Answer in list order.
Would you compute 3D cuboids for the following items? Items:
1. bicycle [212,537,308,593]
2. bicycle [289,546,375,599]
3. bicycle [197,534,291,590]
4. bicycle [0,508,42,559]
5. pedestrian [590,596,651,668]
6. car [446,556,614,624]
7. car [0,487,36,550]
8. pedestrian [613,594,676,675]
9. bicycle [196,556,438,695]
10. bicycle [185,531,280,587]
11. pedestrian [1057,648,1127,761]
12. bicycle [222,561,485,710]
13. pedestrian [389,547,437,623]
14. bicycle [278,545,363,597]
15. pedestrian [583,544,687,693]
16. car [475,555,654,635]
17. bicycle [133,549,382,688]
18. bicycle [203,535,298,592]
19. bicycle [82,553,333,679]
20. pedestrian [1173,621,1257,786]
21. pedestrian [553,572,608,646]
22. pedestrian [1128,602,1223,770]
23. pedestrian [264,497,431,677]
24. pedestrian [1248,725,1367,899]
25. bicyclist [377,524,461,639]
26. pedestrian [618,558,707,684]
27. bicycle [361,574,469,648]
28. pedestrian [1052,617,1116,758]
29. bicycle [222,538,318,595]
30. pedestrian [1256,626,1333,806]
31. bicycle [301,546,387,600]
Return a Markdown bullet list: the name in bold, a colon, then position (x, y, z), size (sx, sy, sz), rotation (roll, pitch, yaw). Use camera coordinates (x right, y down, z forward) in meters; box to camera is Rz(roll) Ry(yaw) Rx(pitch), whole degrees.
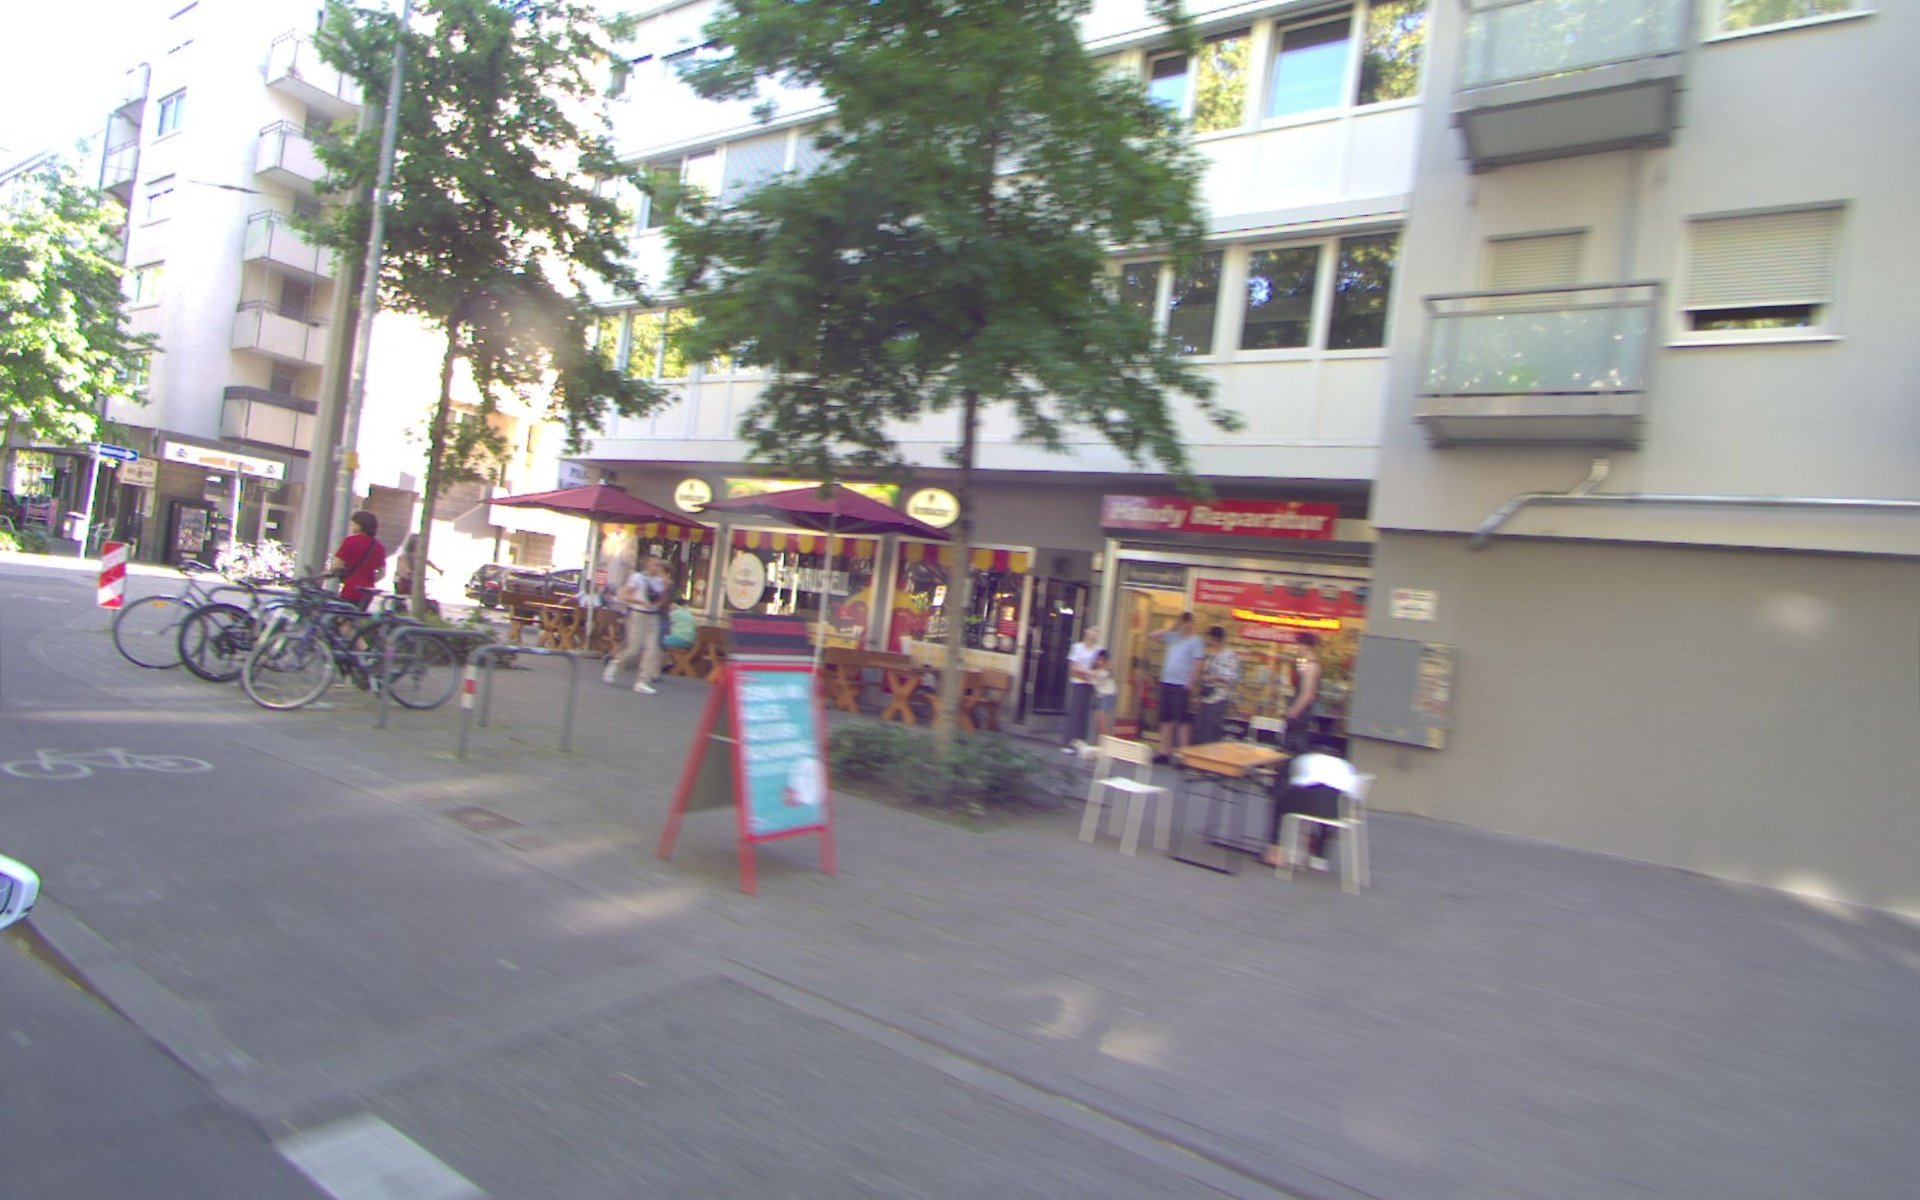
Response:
- **bicycle**: position (-18.303, -0.895, 26.361), size (0.502, 1.222, 1.918), rotation (8, 0, 30)
- **bicycle**: position (-17.782, -0.757, 28.539), size (0.502, 1.221, 1.919), rotation (7, -3, 30)
- **bicycle**: position (-19.171, -1.002, 26.984), size (0.502, 1.222, 1.918), rotation (7, -1, 30)
- **bicycle**: position (-25.608, -1.856, 26.374), size (0.672, 1.200, 2.125), rotation (6, -3, 42)
- **pedestrian**: position (-5.623, 0.530, 16.671), size (0.513, 1.091, 0.643), rotation (6, -2, 32)
- **car**: position (-13.837, -0.268, 32.632), size (1.841, 1.495, 4.590), rotation (9, 0, 35)
- **car**: position (-28.001, -2.464, 28.266), size (4.375, 1.635, 1.995), rotation (6, -1, 34)
- **pedestrian**: position (-5.067, 0.561, 16.169), size (0.513, 1.188, 0.660), rotation (6, -2, 32)
- **bicycle**: position (-5.946, 0.289, 9.439), size (0.473, 1.112, 1.822), rotation (7, -3, 26)
- **bicycle**: position (-19.646, -1.090, 27.205), size (0.502, 1.221, 1.919), rotation (7, -3, 30)
- **pedestrian**: position (1.628, 1.278, 12.476), size (0.615, 1.290, 0.509), rotation (8, -2, -3)
- **bicycle**: position (-5.191, 0.354, 8.746), size (0.517, 1.113, 1.818), rotation (6, -2, 33)
- **pedestrian**: position (-12.055, -0.328, 22.163), size (0.635, 1.579, 0.551), rotation (5, -3, 38)
- **bicycle**: position (-18.338, -0.812, 28.877), size (0.502, 1.221, 1.919), rotation (6, -3, 30)
- **pedestrian**: position (-4.253, 0.238, 13.154), size (0.979, 1.804, 0.591), rotation (6, -2, 33)
- **car**: position (-10.825, -0.072, 27.878), size (1.933, 1.609, 4.262), rotation (5, -3, 28)
- **bicycle**: position (-6.573, 0.222, 9.540), size (0.489, 1.112, 1.822), rotation (7, -3, 26)
- **bicycle**: position (-18.747, -0.946, 26.638), size (0.502, 1.222, 1.918), rotation (8, -1, 30)
- **bicycle**: position (-7.259, 0.192, 9.817), size (0.473, 1.005, 1.820), rotation (6, -3, 31)
- **pedestrian**: position (2.980, 1.190, 11.778), size (0.518, 1.825, 0.630), rotation (8, -2, -13)
- **pedestrian**: position (-7.305, 0.176, 19.349), size (0.704, 1.302, 0.536), rotation (6, -2, 35)
- **pedestrian**: position (2.690, 1.061, 12.567), size (0.782, 1.976, 0.505), rotation (6, -2, 43)
- **pedestrian**: position (-6.654, -0.115, 10.989), size (1.028, 1.778, 0.879), rotation (7, -2, 6)
- **pedestrian**: position (2.516, 1.479, 7.261), size (0.649, 1.038, 1.002), rotation (7, -2, 21)
- **bicyclist**: position (-8.836, -0.307, 16.432), size (0.950, 1.736, 0.677), rotation (6, -2, 36)
- **pedestrian**: position (-4.290, 0.317, 14.529), size (0.799, 1.678, 0.680), rotation (7, -2, 12)
- **bicycle**: position (-8.923, 0.170, 16.432), size (1.991, 0.974, 0.677), rotation (6, -3, 36)
- **pedestrian**: position (1.528, 1.073, 12.471), size (0.509, 1.647, 0.508), rotation (8, -2, -4)
- **bicycle**: position (-17.856, -0.852, 26.091), size (0.502, 1.222, 1.918), rotation (8, 0, 30)
- **pedestrian**: position (3.549, 1.223, 10.668), size (0.481, 1.816, 0.432), rotation (6, -2, 33)
- **bicycle**: position (-17.259, -0.739, 28.233), size (0.502, 1.221, 1.919), rotation (8, -1, 30)
